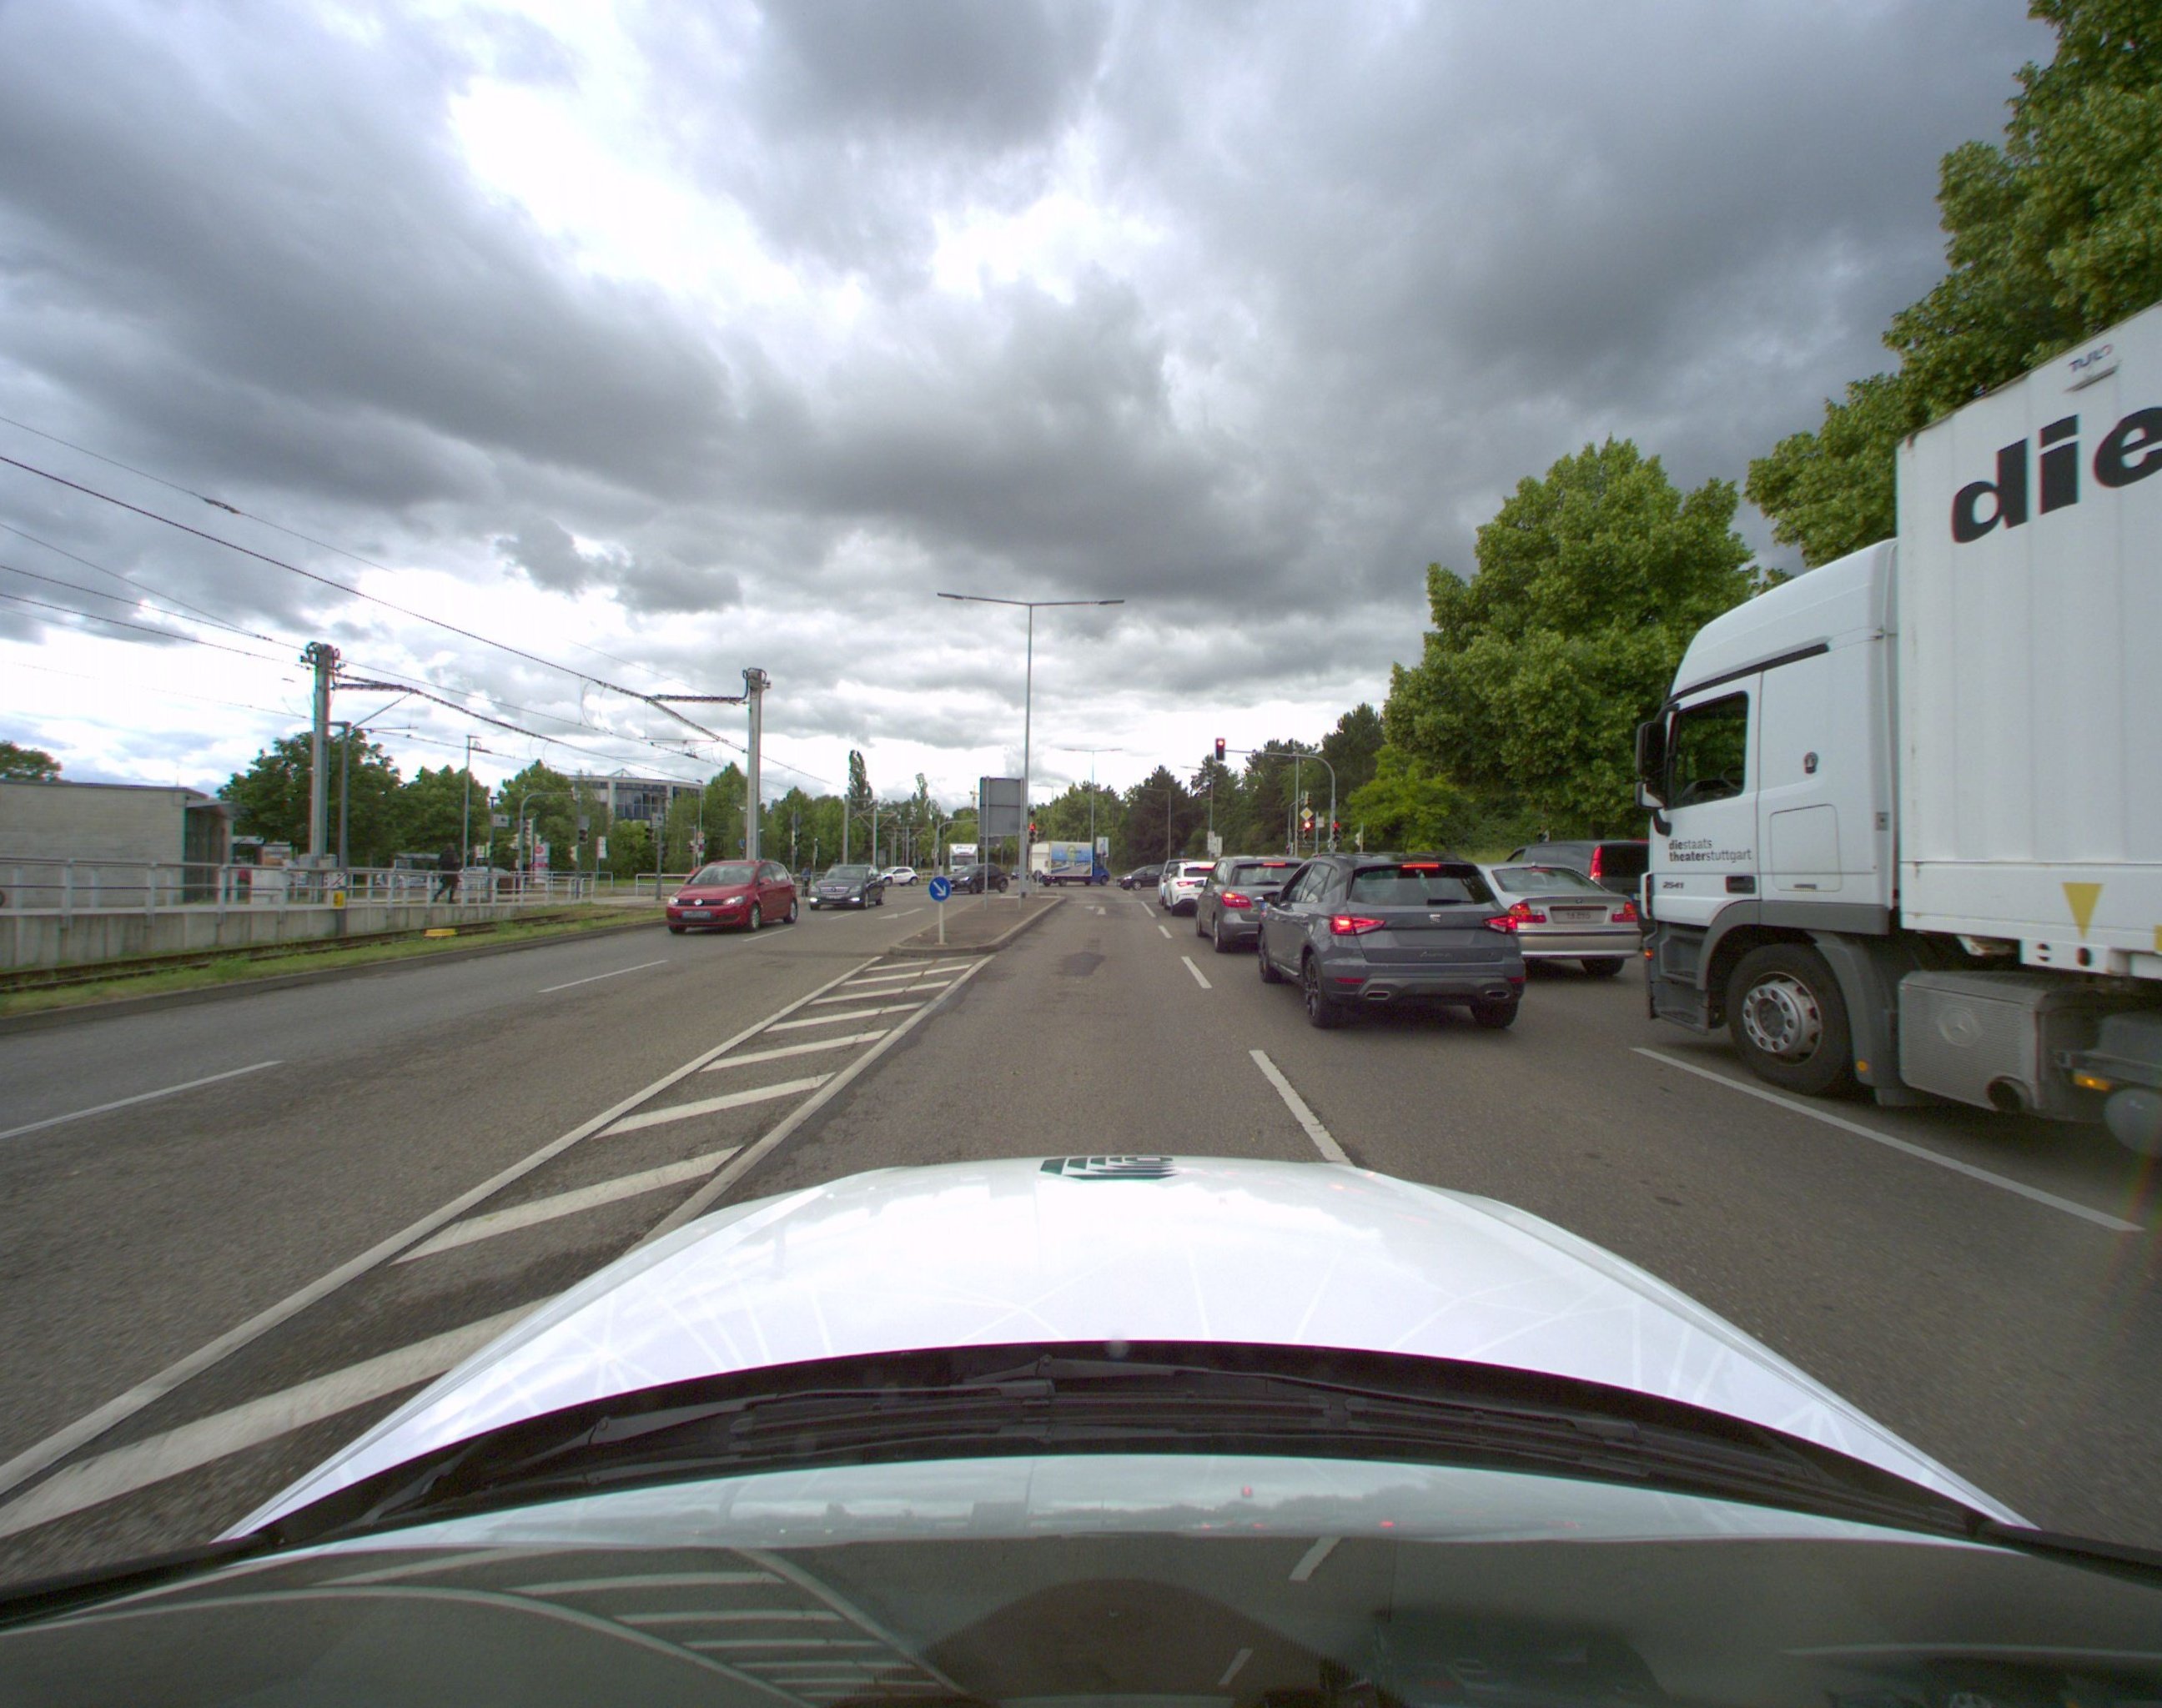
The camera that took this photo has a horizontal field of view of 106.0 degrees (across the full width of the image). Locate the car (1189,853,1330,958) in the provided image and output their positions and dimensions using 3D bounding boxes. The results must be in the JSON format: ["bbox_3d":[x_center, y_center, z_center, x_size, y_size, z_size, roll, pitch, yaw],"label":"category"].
[{"bbox_3d":[2.913,0.764,14.117,1.791,1.523,4.192,-1,0,4],"label":"car"}]

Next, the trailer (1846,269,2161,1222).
[{"bbox_3d":[5.350,-0.412,0.603,2.555,3.705,7.770,-1,0,3],"label":"trailer"}]

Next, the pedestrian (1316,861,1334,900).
[{"bbox_3d":[9.027,0.982,30.120,0.607,1.453,0.355,0,-1,10],"label":"pedestrian"}]

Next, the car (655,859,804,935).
[{"bbox_3d":[-7.779,0.881,18.456,1.698,1.488,4.083,-1,0,-2],"label":"car"}]

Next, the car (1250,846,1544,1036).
[{"bbox_3d":[2.888,0.696,8.404,1.691,1.486,4.004,-1,0,3],"label":"car"}]

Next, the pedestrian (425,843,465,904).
[{"bbox_3d":[-19.354,0.584,24.788,0.570,1.827,0.793,0,-1,-2],"label":"pedestrian"}]

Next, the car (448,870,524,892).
[{"bbox_3d":[-37.731,1.705,51.649,3.963,1.377,1.522,0,-1,9],"label":"car"}]

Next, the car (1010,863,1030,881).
[{"bbox_3d":[-6.569,1.916,87.401,1.914,1.576,3.991,-1,2,-7],"label":"car"}]

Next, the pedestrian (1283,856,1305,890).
[{"bbox_3d":[9.862,0.858,37.709,0.861,1.560,0.518,-1,0,0],"label":"pedestrian"}]

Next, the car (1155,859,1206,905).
[{"bbox_3d":[3.405,0.934,28.280,1.529,1.504,2.671,-1,-1,2],"label":"car"}]

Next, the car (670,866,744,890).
[{"bbox_3d":[-24.242,1.555,52.916,3.972,1.517,1.733,-1,-2,1],"label":"car"}]

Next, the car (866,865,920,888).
[{"bbox_3d":[-14.550,1.734,63.285,1.758,1.507,3.770,1,3,41],"label":"car"}]

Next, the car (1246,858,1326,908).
[{"bbox_3d":[6.265,0.857,25.249,1.540,1.404,4.001,-1,-1,1],"label":"car"}]

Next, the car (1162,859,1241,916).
[{"bbox_3d":[3.273,0.881,22.895,1.715,1.422,4.358,-1,-1,2],"label":"car"}]

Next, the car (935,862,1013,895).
[{"bbox_3d":[-5.302,1.182,40.733,1.578,1.496,3.964,-1,0,34],"label":"car"}]

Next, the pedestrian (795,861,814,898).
[{"bbox_3d":[-12.132,1.113,35.698,0.349,1.556,0.657,1,2,36],"label":"pedestrian"}]

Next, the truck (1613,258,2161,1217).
[{"bbox_3d":[5.546,-0.471,4.570,2.560,3.705,4.109,-1,0,3],"label":"truck"}]

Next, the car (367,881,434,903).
[{"bbox_3d":[-43.988,2.444,52.673,3.264,1.310,1.556,-1,-1,8],"label":"car"}]

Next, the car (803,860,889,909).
[{"bbox_3d":[-7.765,0.951,27.348,1.687,1.439,4.542,-1,0,-2],"label":"car"}]

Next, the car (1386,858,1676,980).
[{"bbox_3d":[5.821,0.747,11.210,1.805,1.354,4.119,-1,-1,2],"label":"car"}]

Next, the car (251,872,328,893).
[{"bbox_3d":[-52.367,1.868,53.881,3.715,1.310,1.727,0,-1,8],"label":"car"}]

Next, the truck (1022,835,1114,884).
[{"bbox_3d":[-0.884,0.406,62.527,2.658,3.598,7.306,1,0,44],"label":"truck"}]

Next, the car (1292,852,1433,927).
[{"bbox_3d":[6.011,0.719,17.901,1.817,1.435,4.216,-1,-1,3],"label":"car"}]

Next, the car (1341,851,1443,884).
[{"bbox_3d":[18.711,0.820,49.173,5.393,1.815,2.003,-1,2,4],"label":"car"}]

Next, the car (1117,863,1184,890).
[{"bbox_3d":[4.033,1.306,47.647,3.756,1.480,1.638,-1,0,-3],"label":"car"}]

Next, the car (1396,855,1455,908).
[{"bbox_3d":[11.656,0.867,27.700,1.687,1.638,4.266,1,0,22],"label":"car"}]

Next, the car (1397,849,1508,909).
[{"bbox_3d":[9.647,0.601,21.444,1.507,1.437,3.646,-1,0,5],"label":"car"}]

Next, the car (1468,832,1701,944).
[{"bbox_3d":[9.274,0.548,15.526,1.817,1.803,4.509,-1,0,3],"label":"car"}]

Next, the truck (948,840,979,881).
[{"bbox_3d":[-11.086,0.628,77.427,2.657,3.649,9.479,0,-1,-7],"label":"truck"}]
